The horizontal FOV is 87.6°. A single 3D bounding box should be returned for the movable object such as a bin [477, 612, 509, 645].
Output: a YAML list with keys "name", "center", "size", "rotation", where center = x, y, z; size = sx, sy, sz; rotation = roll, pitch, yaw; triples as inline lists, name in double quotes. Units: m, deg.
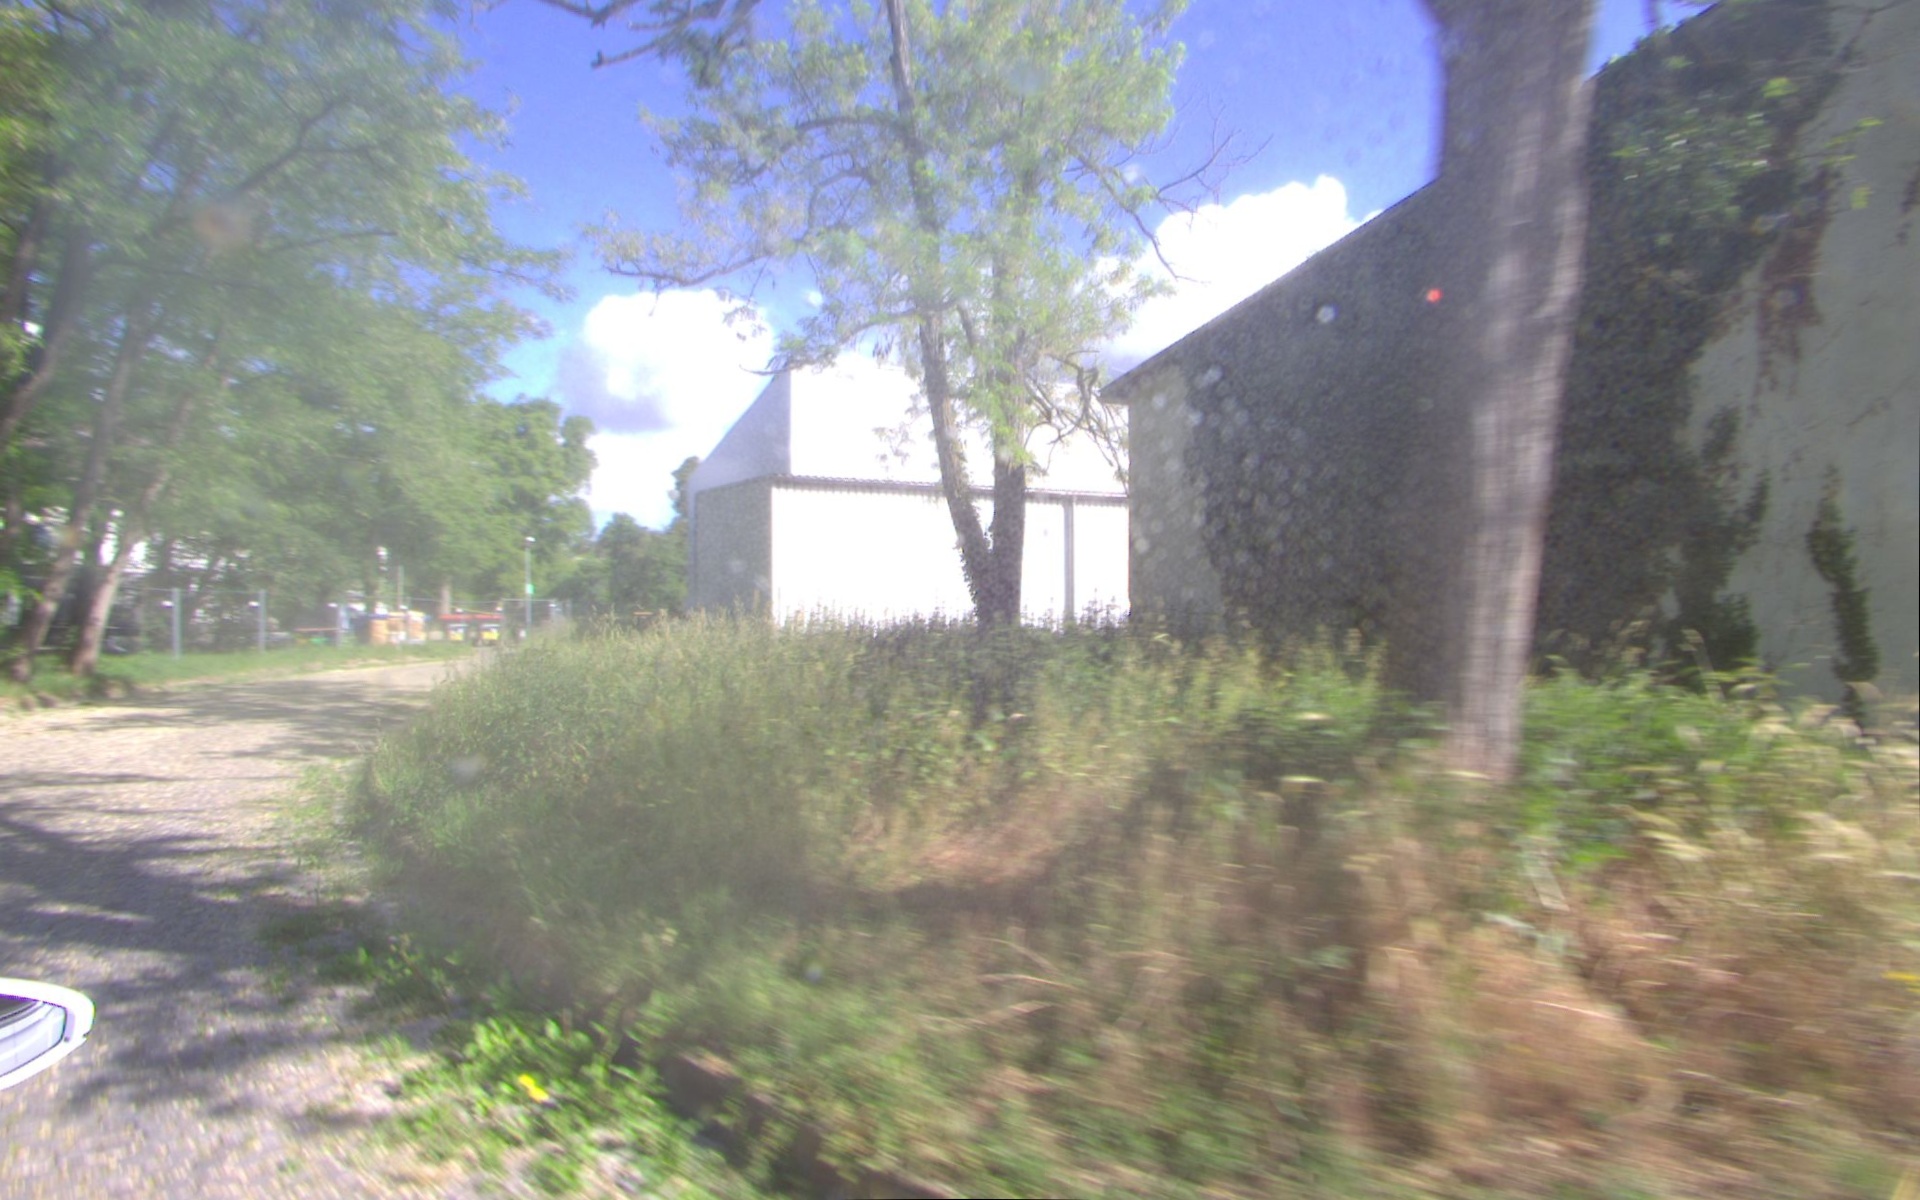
- name: "movable object such as a bin"
  center: [-21.053, 1.270, 45.149]
  size: [1.271, 1.445, 1.028]
  rotation: [0, -1, -26]

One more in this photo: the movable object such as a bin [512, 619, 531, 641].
- name: "movable object such as a bin"
  center: [-19.908, 1.360, 45.438]
  size: [0.631, 1.020, 0.605]
  rotation: [0, 0, -6]

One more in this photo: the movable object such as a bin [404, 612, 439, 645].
- name: "movable object such as a bin"
  center: [-23.664, 1.235, 44.006]
  size: [1.271, 1.445, 1.029]
  rotation: [0, -1, -24]

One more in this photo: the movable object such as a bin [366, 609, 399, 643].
- name: "movable object such as a bin"
  center: [-24.950, 1.125, 43.302]
  size: [1.069, 1.457, 1.053]
  rotation: [0, -1, -20]

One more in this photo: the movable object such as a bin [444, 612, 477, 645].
- name: "movable object such as a bin"
  center: [-22.231, 1.273, 44.594]
  size: [1.271, 1.445, 1.029]
  rotation: [0, -1, -24]
